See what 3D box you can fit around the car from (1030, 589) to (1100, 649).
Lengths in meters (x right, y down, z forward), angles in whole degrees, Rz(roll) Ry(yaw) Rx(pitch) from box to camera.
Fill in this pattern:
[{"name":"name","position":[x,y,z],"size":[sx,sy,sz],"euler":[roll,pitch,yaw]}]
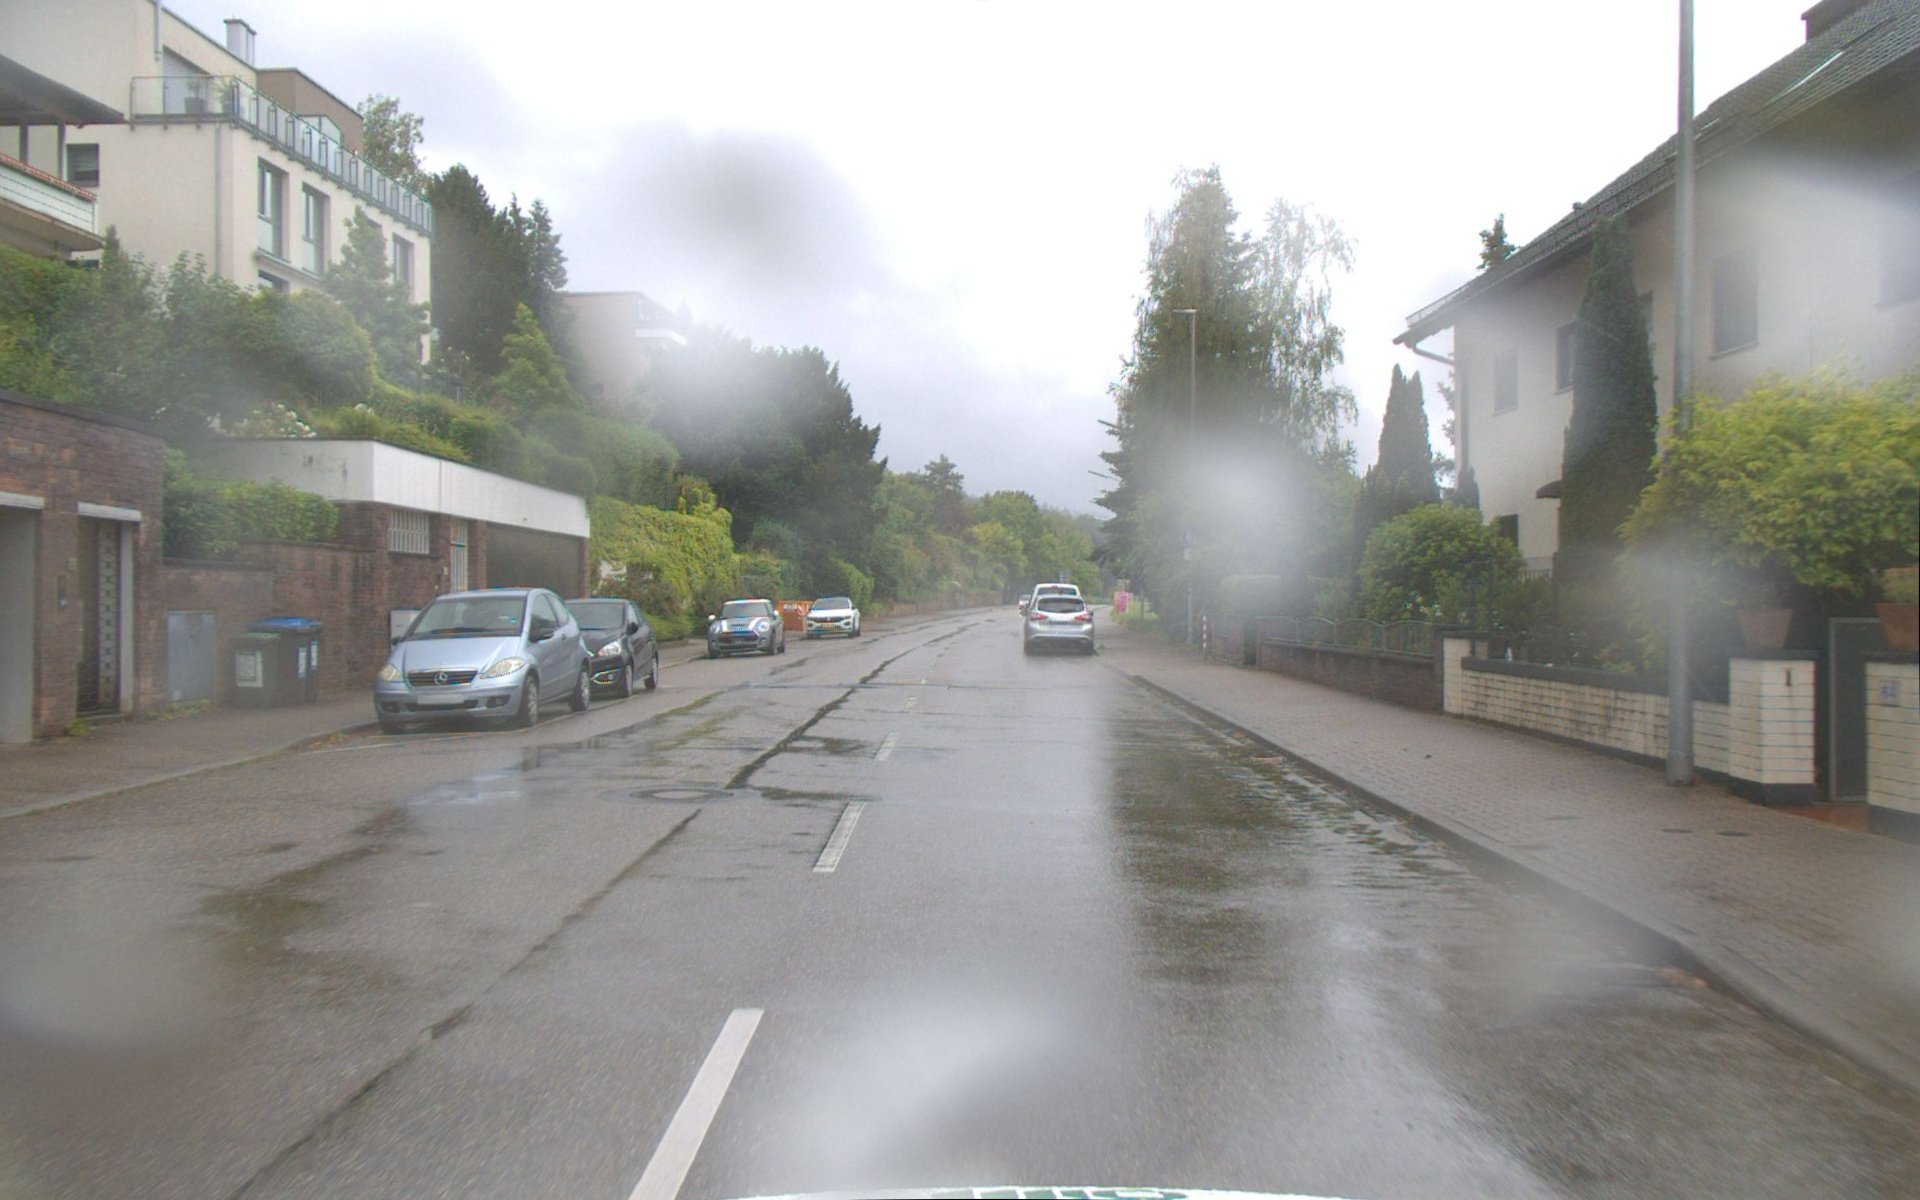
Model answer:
[{"name":"car","position":[2.740,0.490,43.576],"size":[1.752,1.485,4.310],"euler":[0,-1,3]}]

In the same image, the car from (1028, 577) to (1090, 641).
[{"name":"car","position":[2.928,0.278,49.326],"size":[1.747,1.822,4.362],"euler":[0,-1,3]}]

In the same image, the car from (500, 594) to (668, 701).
[{"name":"car","position":[-5.698,0.671,25.498],"size":[1.720,1.433,3.704],"euler":[-3,0,-1]}]

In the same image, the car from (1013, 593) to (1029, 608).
[{"name":"car","position":[6.265,0.063,170.280],"size":[1.628,1.486,3.662],"euler":[0,-1,1]}]

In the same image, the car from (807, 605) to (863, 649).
[{"name":"car","position":[-4.665,1.001,61.982],"size":[1.720,1.524,4.220],"euler":[-1,-1,0]}]

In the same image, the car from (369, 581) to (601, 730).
[{"name":"car","position":[-5.659,0.605,20.176],"size":[1.720,1.566,3.756],"euler":[-3,0,-1]}]

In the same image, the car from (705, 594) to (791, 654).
[{"name":"car","position":[-5.470,0.600,42.993],"size":[1.720,1.427,3.769],"euler":[-2,0,0]}]
